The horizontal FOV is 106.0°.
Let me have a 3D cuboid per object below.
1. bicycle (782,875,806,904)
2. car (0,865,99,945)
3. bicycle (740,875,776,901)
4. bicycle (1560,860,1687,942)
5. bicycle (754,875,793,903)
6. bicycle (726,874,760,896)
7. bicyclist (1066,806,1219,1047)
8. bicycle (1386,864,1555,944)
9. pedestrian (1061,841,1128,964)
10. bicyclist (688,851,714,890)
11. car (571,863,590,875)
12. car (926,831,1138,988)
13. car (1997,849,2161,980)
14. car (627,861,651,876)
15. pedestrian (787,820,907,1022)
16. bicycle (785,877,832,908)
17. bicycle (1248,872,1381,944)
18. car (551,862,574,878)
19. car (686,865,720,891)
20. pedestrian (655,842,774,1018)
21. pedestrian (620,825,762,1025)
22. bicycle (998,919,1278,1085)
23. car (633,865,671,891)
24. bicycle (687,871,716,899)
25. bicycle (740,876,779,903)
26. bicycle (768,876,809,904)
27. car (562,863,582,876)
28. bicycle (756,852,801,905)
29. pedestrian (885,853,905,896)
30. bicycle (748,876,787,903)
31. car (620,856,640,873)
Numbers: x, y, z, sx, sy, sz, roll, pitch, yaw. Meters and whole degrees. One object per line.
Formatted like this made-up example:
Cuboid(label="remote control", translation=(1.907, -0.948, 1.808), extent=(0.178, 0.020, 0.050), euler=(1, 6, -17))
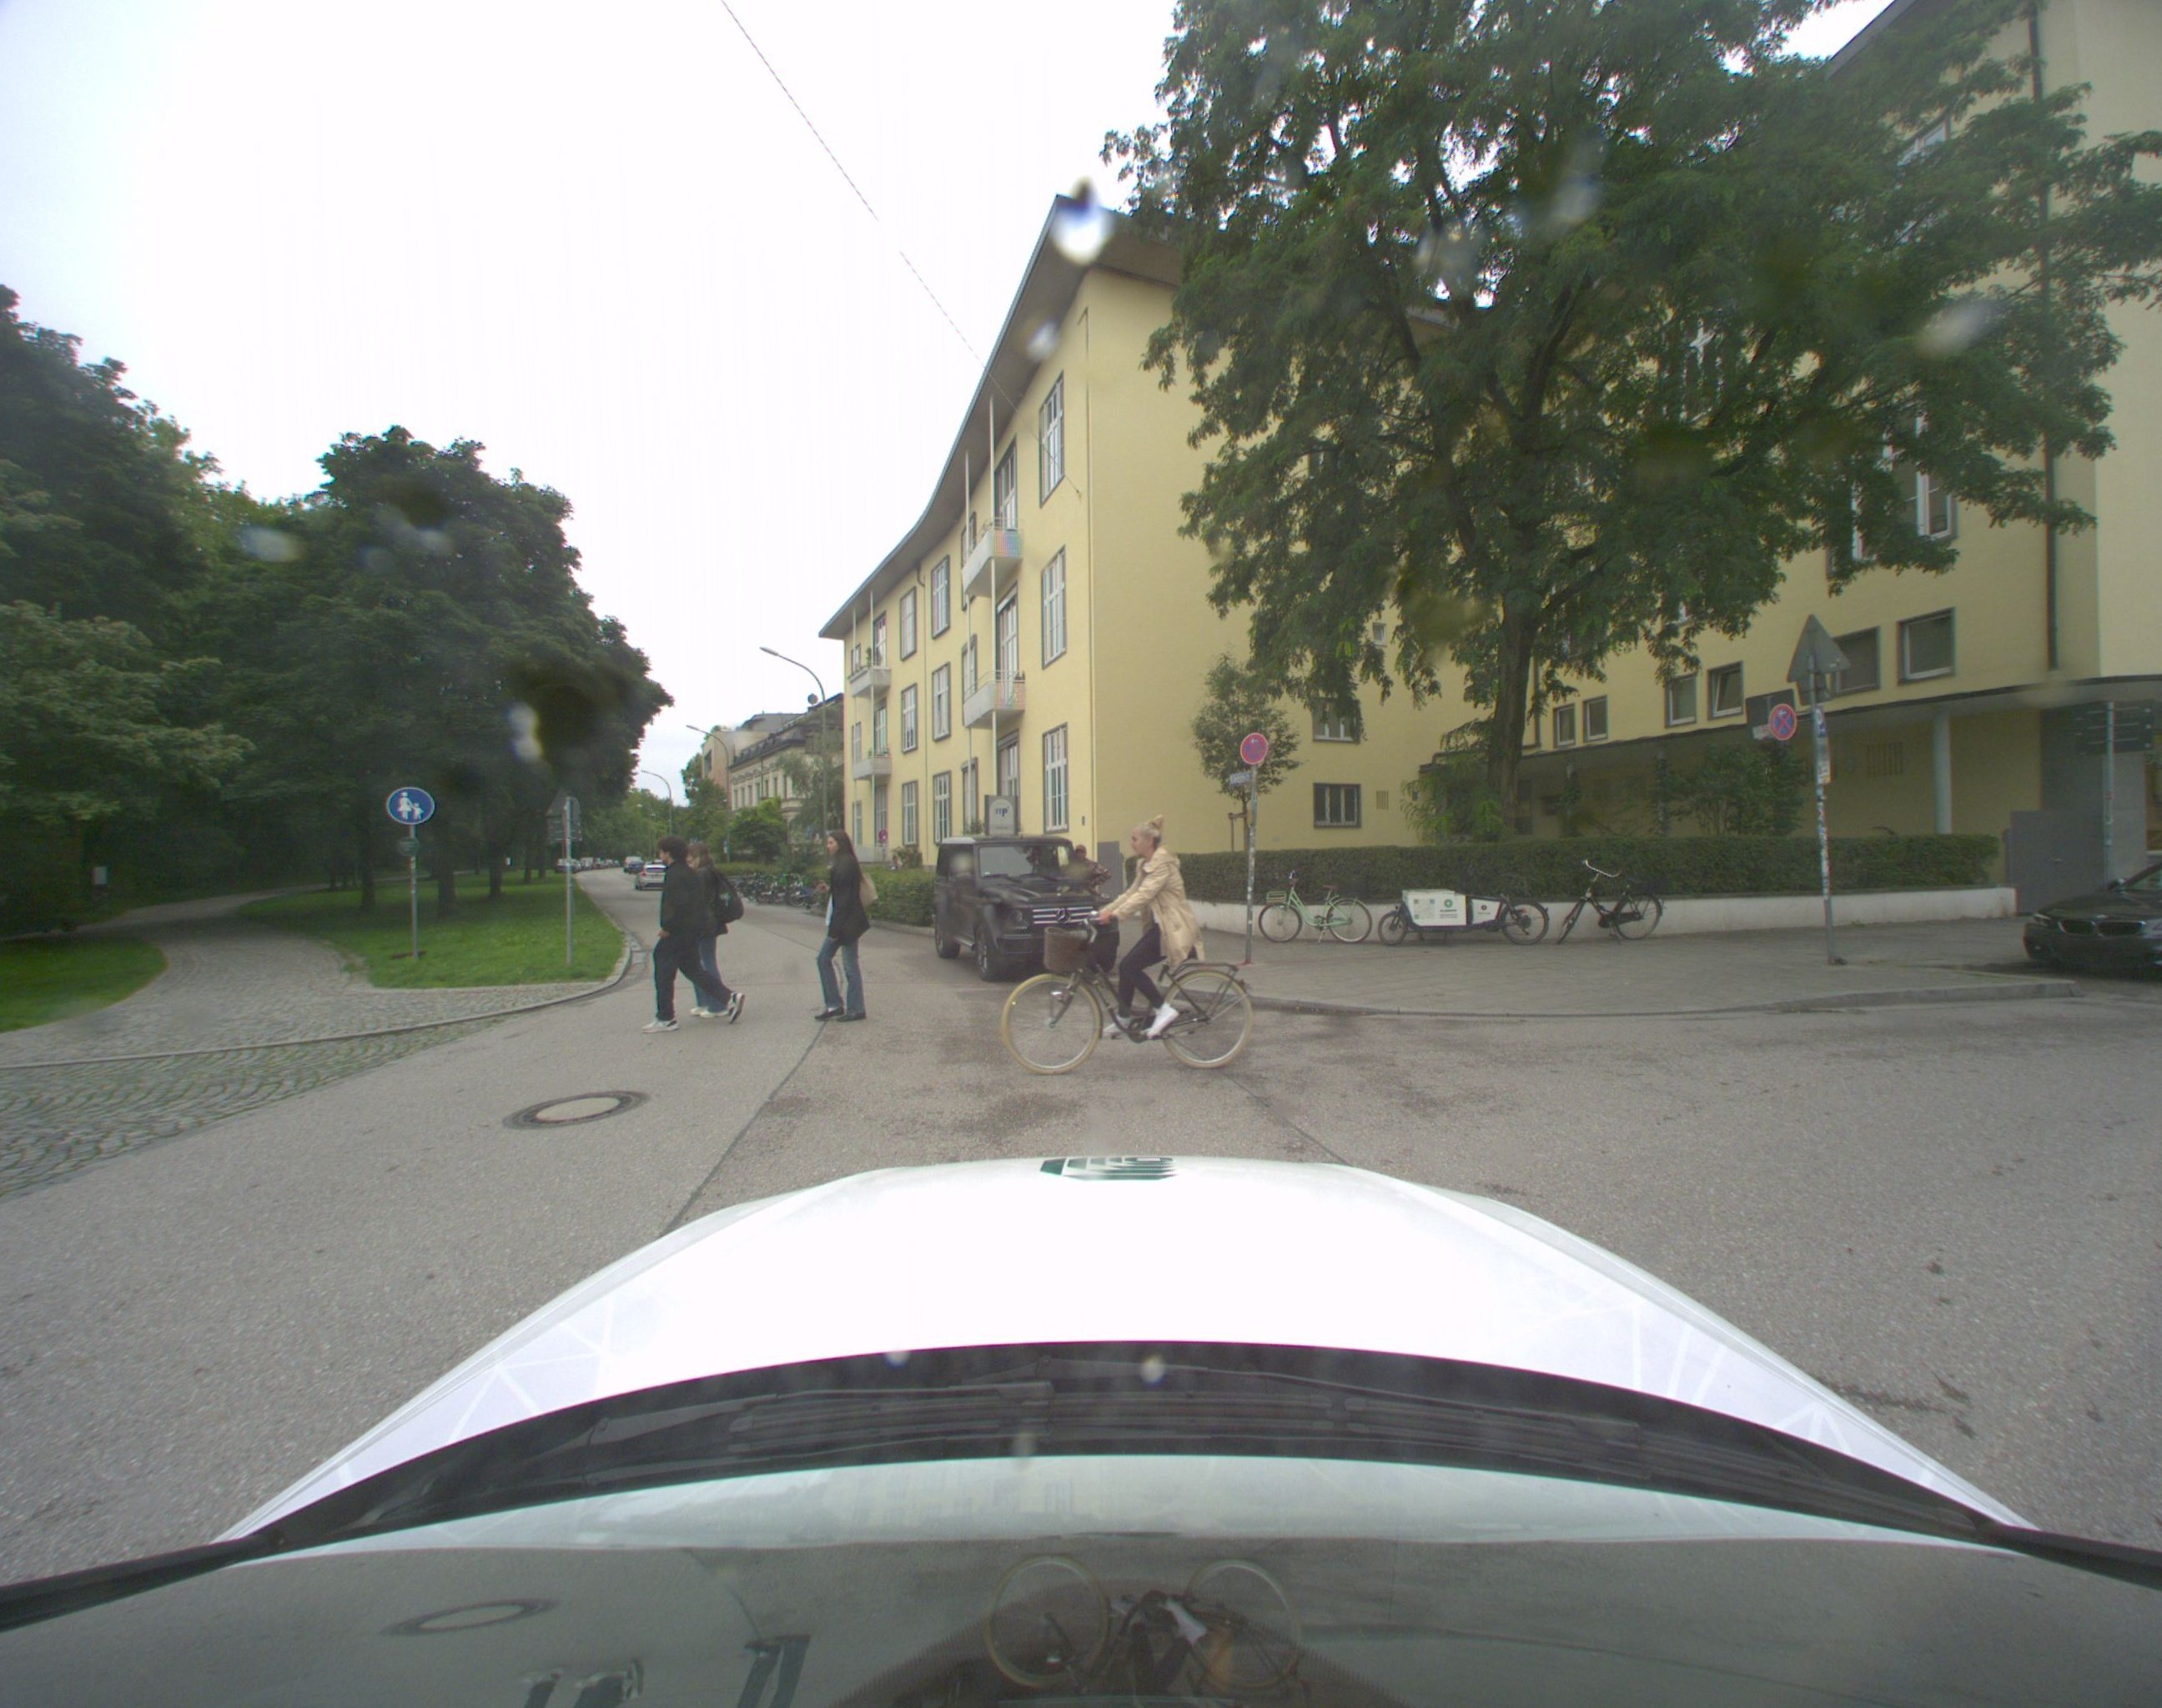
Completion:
Cuboid(label="bicycle", translation=(-11.056, 1.367, 31.398), extent=(0.365, 1.014, 1.537), euler=(-2, 0, 0))
Cuboid(label="car", translation=(-28.428, 1.348, 20.703), extent=(1.766, 2.013, 4.022), euler=(-2, 0, 23))
Cuboid(label="bicycle", translation=(-14.037, 1.471, 35.406), extent=(0.404, 1.014, 1.547), euler=(-2, 0, 28))
Cuboid(label="bicycle", translation=(7.961, 0.673, 11.962), extent=(1.682, 1.130, 0.458), euler=(-1, 0, -10))
Cuboid(label="bicycle", translation=(-12.492, 1.406, 33.111), extent=(0.404, 1.014, 1.547), euler=(-2, 0, 32))
Cuboid(label="bicycle", translation=(-16.953, 1.555, 40.895), extent=(0.404, 1.014, 1.547), euler=(-2, 0, 41))
Cuboid(label="bicyclist", translation=(0.426, 0.499, 6.051), extent=(1.002, 1.656, 0.695), euler=(-1, 0, -5))
Cuboid(label="bicycle", translation=(5.746, 0.734, 12.109), extent=(2.155, 1.115, 0.642), euler=(-1, 0, 8))
Cuboid(label="pedestrian", translation=(0.186, 0.704, 12.364), extent=(0.847, 1.757, 0.951), euler=(-2, 0, -7))
Cuboid(label="bicyclist", translation=(-18.075, 0.773, 38.711), extent=(0.920, 1.764, 1.202), euler=(-1, 0, -33))
Cuboid(label="car", translation=(-71.387, 2.184, 116.209), extent=(2.005, 1.600, 4.426), euler=(-1, 0, -28))
Cuboid(label="car", translation=(-0.980, 0.685, 12.436), extent=(1.881, 1.887, 4.585), euler=(-1, 0, -22))
Cuboid(label="car", translation=(13.408, 0.610, 9.339), extent=(4.316, 1.367, 1.658), euler=(-1, -3, -7))
Cuboid(label="car", translation=(-49.965, 1.590, 92.045), extent=(2.008, 1.600, 4.210), euler=(-1, 0, -33))
Cuboid(label="pedestrian", translation=(-2.273, 0.627, 8.005), extent=(0.846, 1.857, 0.768), euler=(-3, -1, 4))
Cuboid(label="bicycle", translation=(-9.970, 1.403, 29.809), extent=(1.544, 1.014, 0.363), euler=(-2, 0, -34))
Cuboid(label="bicycle", translation=(3.715, 0.868, 13.055), extent=(1.924, 1.085, 0.532), euler=(-4, -2, 34))
Cuboid(label="car", translation=(-56.361, 1.751, 88.562), extent=(2.007, 1.600, 4.421), euler=(-1, 0, -32))
Cuboid(label="car", translation=(-24.796, 1.541, 53.365), extent=(1.657, 1.558, 3.524), euler=(-1, 0, -31))
Cuboid(label="pedestrian", translation=(-3.797, 0.761, 8.485), extent=(0.822, 1.746, 0.742), euler=(-1, 0, 7))
Cuboid(label="pedestrian", translation=(-3.692, 0.653, 7.761), extent=(0.985, 1.809, 0.660), euler=(-2, -1, 4))
Cuboid(label="bicycle", translation=(0.390, 1.052, 6.037), extent=(1.957, 1.024, 0.683), euler=(-1, 0, -5))
Cuboid(label="car", translation=(-24.917, 1.375, 47.237), extent=(1.759, 1.406, 3.690), euler=(-1, 0, -31))
Cuboid(label="bicycle", translation=(-18.038, 1.446, 38.660), extent=(0.927, 1.252, 2.297), euler=(-1, 0, -33))
Cuboid(label="bicycle", translation=(-13.311, 1.451, 33.731), extent=(0.404, 1.014, 1.547), euler=(-2, 0, 28))
Cuboid(label="bicycle", translation=(-11.633, 1.404, 32.388), extent=(0.362, 1.014, 1.548), euler=(-2, 0, 37))
Cuboid(label="car", translation=(-64.334, 1.925, 102.932), extent=(2.007, 1.600, 4.421), euler=(-1, 0, -32))
Cuboid(label="bicycle", translation=(-12.093, 0.971, 32.600), extent=(0.451, 2.013, 1.688), euler=(-2, 0, 32))
Cuboid(label="pedestrian", translation=(-7.505, 0.832, 32.822), extent=(0.634, 1.684, 0.692), euler=(-2, 0, -23))
Cuboid(label="bicycle", translation=(-12.876, 1.463, 33.487), extent=(0.404, 1.014, 1.547), euler=(-2, 0, 28))
Cuboid(label="car", translation=(-55.262, 1.277, 99.680), extent=(2.079, 1.966, 4.929), euler=(-1, 0, -30))
